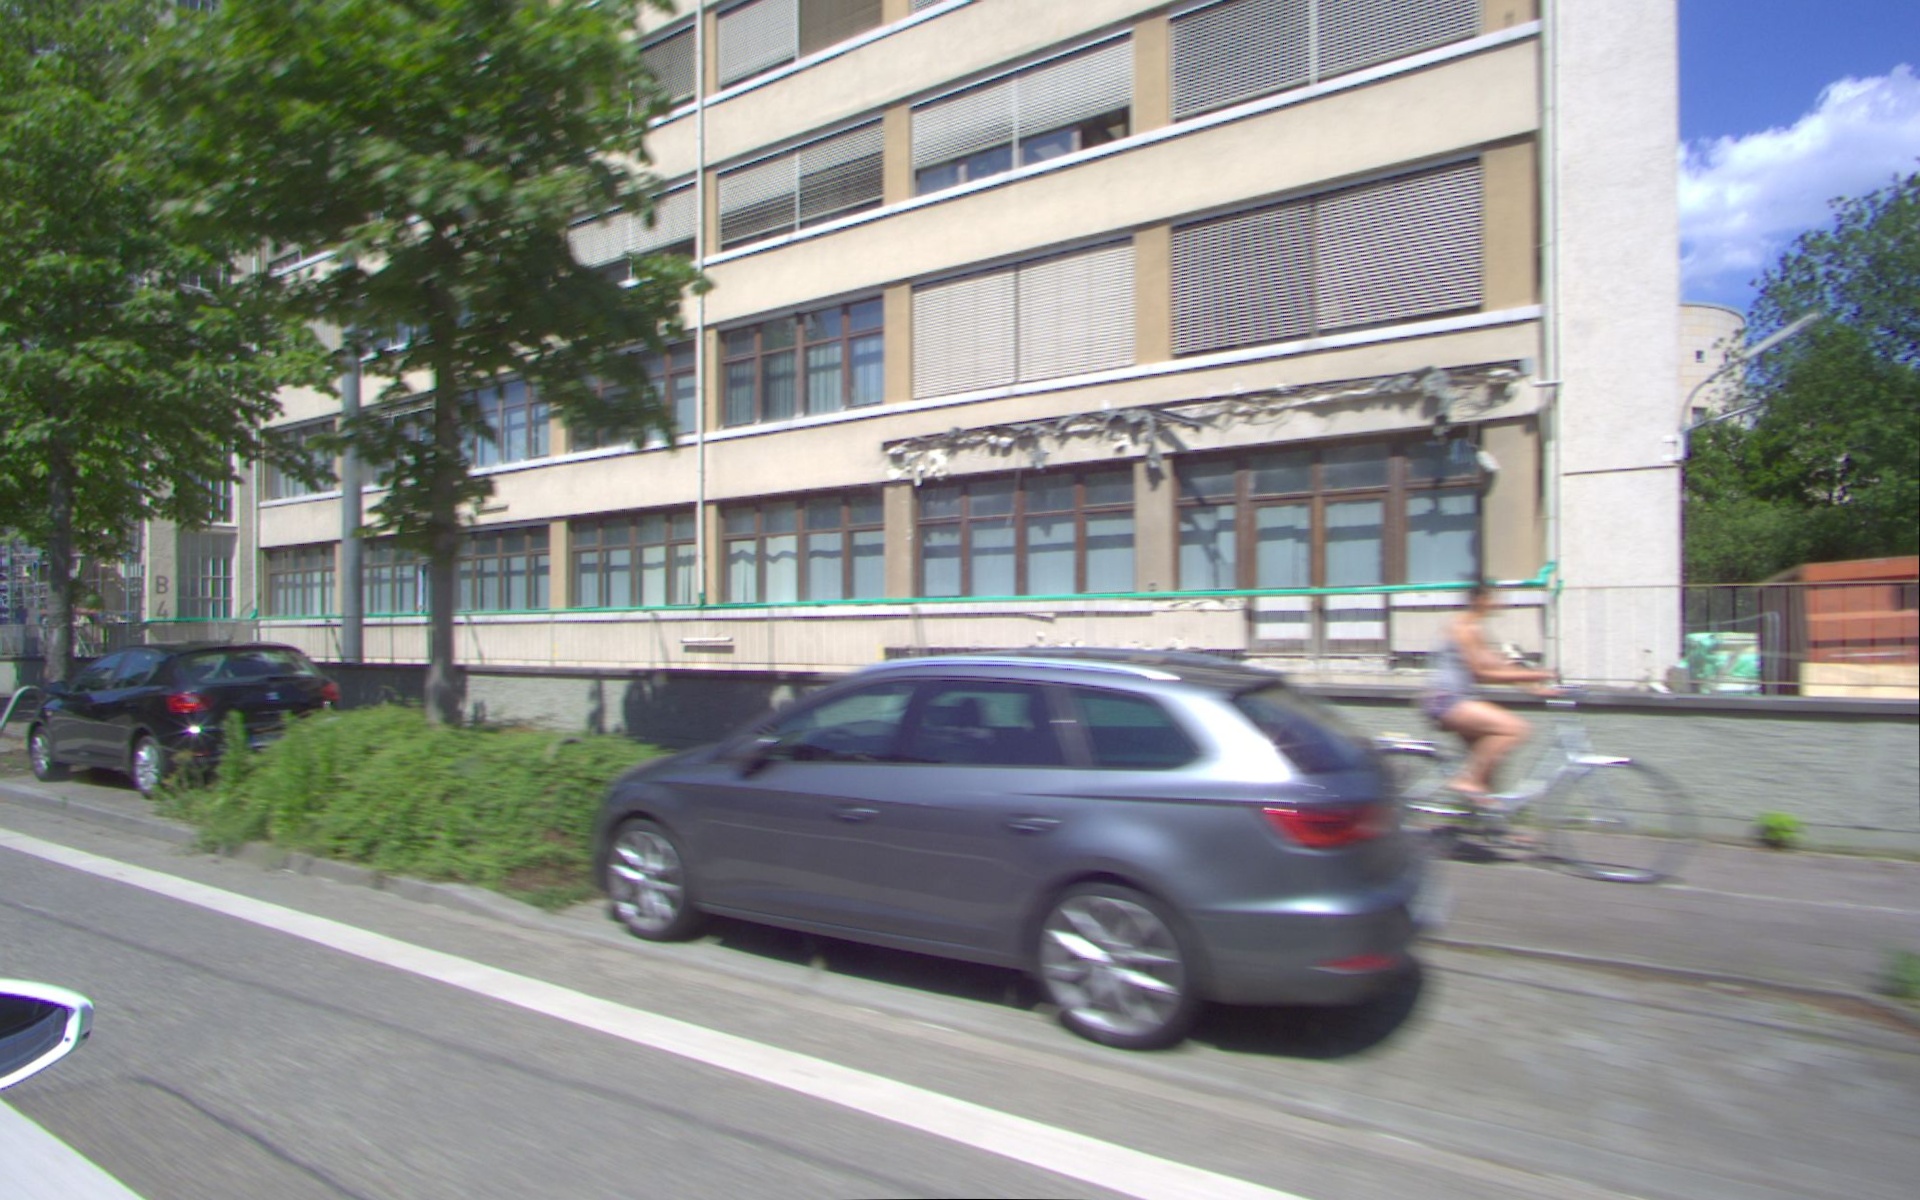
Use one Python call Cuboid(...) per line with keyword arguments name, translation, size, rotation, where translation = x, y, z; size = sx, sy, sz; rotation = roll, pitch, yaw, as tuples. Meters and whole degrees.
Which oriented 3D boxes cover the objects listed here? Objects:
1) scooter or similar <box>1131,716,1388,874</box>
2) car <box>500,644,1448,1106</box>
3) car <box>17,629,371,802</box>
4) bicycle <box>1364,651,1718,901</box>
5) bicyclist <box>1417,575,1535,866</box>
Cuboid(name="scooter or similar", translation=(2.035, 1.273, 6.838), size=(1.533, 0.818, 0.760), rotation=(-1, 0, 32))
Cuboid(name="car", translation=(-0.171, 0.959, 5.129), size=(4.680, 1.426, 1.669), rotation=(-1, -2, 31))
Cuboid(name="car", translation=(-8.100, 1.075, 10.521), size=(3.923, 1.509, 1.669), rotation=(-1, -2, 31))
Cuboid(name="bicycle", translation=(3.405, 0.966, 5.995), size=(1.748, 1.282, 0.553), rotation=(-1, 1, 32))
Cuboid(name="bicyclist", translation=(3.173, 0.696, 6.147), size=(0.591, 1.670, 0.579), rotation=(-1, 1, 32))
